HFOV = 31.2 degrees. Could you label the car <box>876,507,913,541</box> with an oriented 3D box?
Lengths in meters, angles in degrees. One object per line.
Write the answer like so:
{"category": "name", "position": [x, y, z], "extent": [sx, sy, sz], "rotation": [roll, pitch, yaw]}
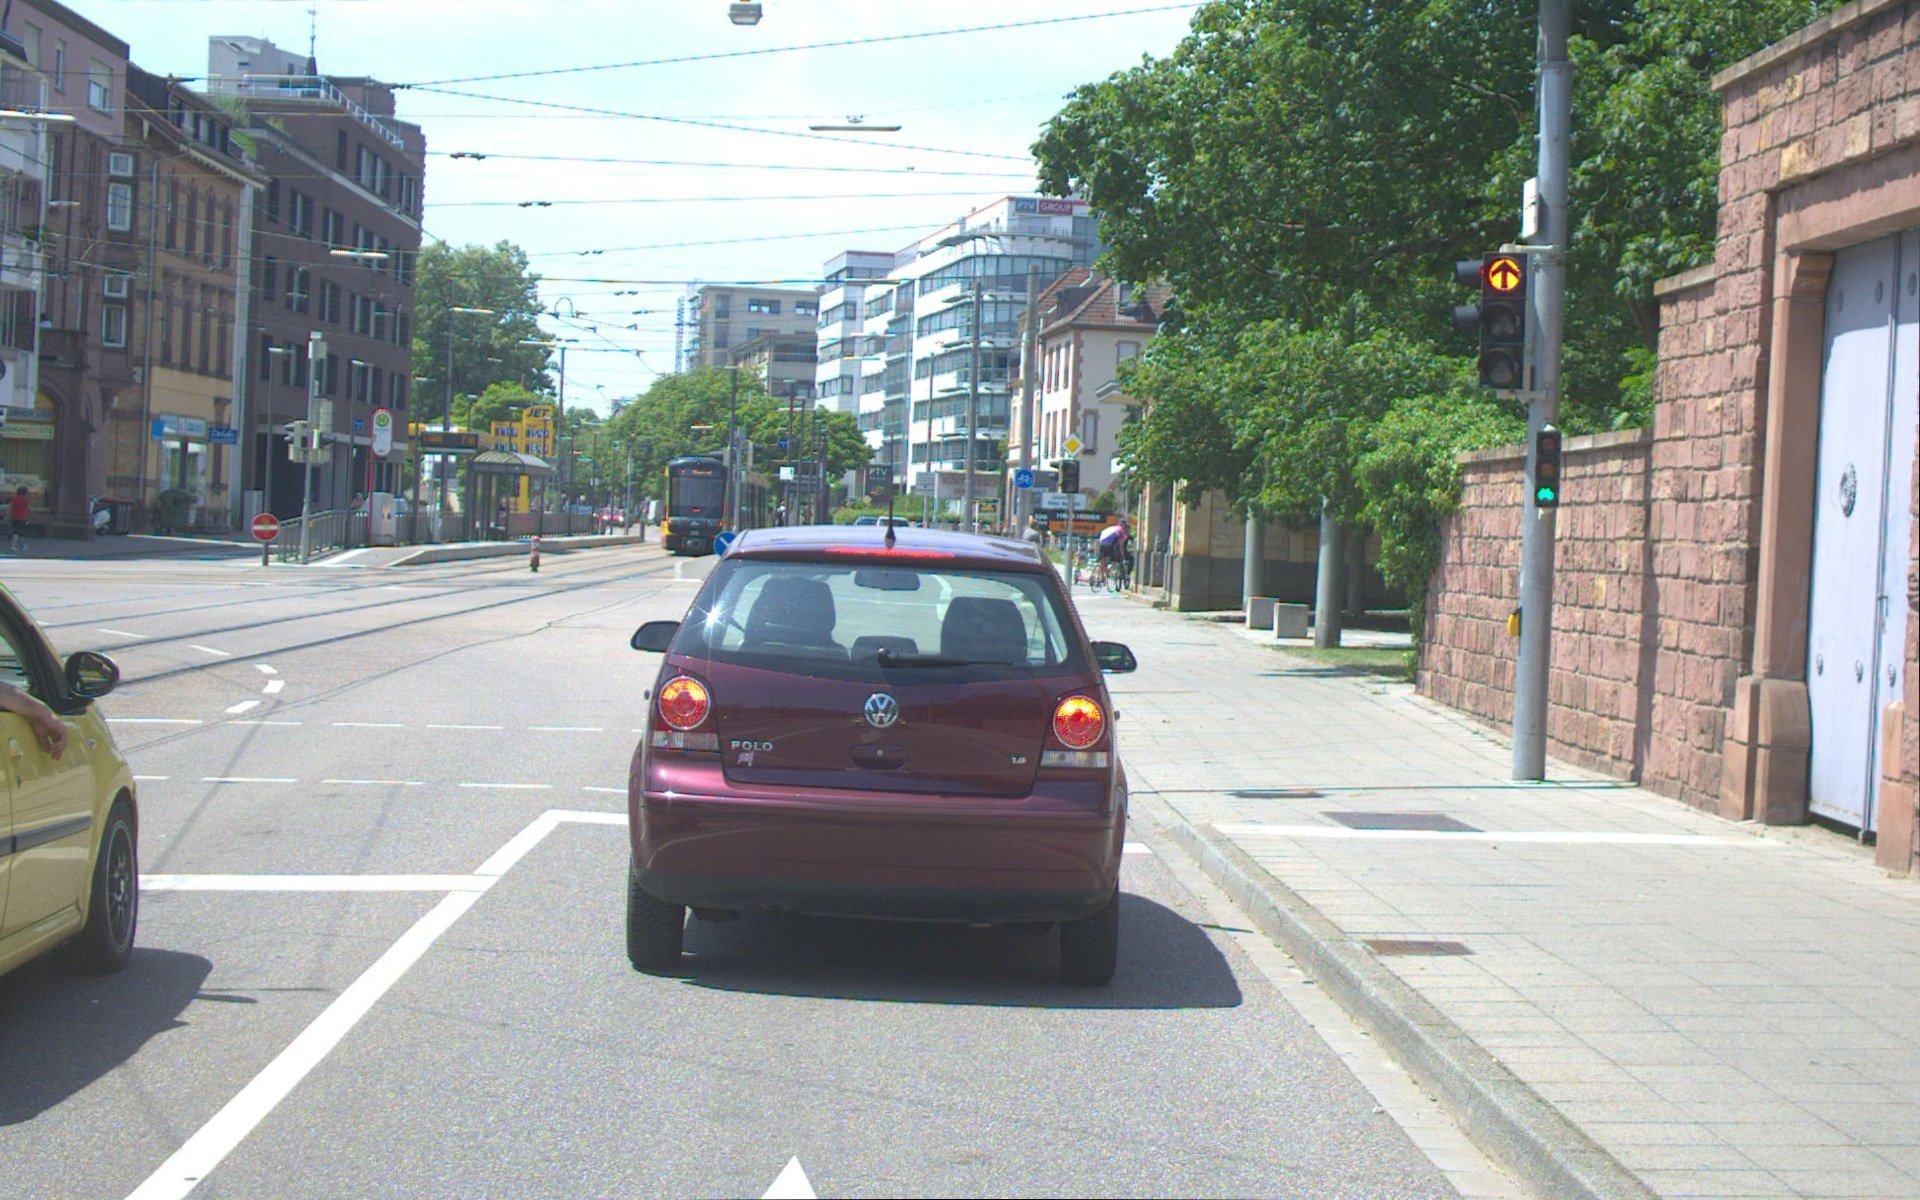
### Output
{"category": "car", "position": [-2.818, -3.274, 147.637], "extent": [1.572, 1.411, 3.720], "rotation": [0, 1, -1]}

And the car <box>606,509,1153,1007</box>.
{"category": "car", "position": [-0.299, 0.433, 12.548], "extent": [1.610, 1.458, 4.086], "rotation": [2, 1, -2]}

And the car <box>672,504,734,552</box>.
{"category": "car", "position": [-9.046, -2.523, 121.380], "extent": [1.938, 1.635, 4.000], "rotation": [1, 1, -1]}

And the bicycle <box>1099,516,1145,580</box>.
{"category": "bicycle", "position": [3.913, -1.254, 83.338], "extent": [0.835, 1.520, 4.000], "rotation": [1, 1, -1]}

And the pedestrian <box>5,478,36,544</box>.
{"category": "pedestrian", "position": [-22.125, -2.086, 80.960], "extent": [0.484, 1.535, 0.538], "rotation": [1, 0, 14]}

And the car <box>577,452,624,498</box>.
{"category": "car", "position": [-16.586, -5.747, 158.632], "extent": [1.735, 2.007, 4.000], "rotation": [2, 1, -1]}

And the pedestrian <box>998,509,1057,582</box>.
{"category": "pedestrian", "position": [1.570, -1.269, 79.992], "extent": [0.981, 1.655, 0.919], "rotation": [2, 2, -30]}

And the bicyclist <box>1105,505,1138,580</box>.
{"category": "bicyclist", "position": [3.942, -1.412, 84.166], "extent": [0.721, 1.812, 0.888], "rotation": [1, 0, -1]}

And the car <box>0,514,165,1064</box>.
{"category": "car", "position": [-3.422, 0.493, 9.561], "extent": [1.723, 1.440, 3.293], "rotation": [1, 2, -1]}

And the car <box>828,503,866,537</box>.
{"category": "car", "position": [-5.586, -3.940, 169.520], "extent": [1.780, 1.617, 4.001], "rotation": [1, 1, -3]}
